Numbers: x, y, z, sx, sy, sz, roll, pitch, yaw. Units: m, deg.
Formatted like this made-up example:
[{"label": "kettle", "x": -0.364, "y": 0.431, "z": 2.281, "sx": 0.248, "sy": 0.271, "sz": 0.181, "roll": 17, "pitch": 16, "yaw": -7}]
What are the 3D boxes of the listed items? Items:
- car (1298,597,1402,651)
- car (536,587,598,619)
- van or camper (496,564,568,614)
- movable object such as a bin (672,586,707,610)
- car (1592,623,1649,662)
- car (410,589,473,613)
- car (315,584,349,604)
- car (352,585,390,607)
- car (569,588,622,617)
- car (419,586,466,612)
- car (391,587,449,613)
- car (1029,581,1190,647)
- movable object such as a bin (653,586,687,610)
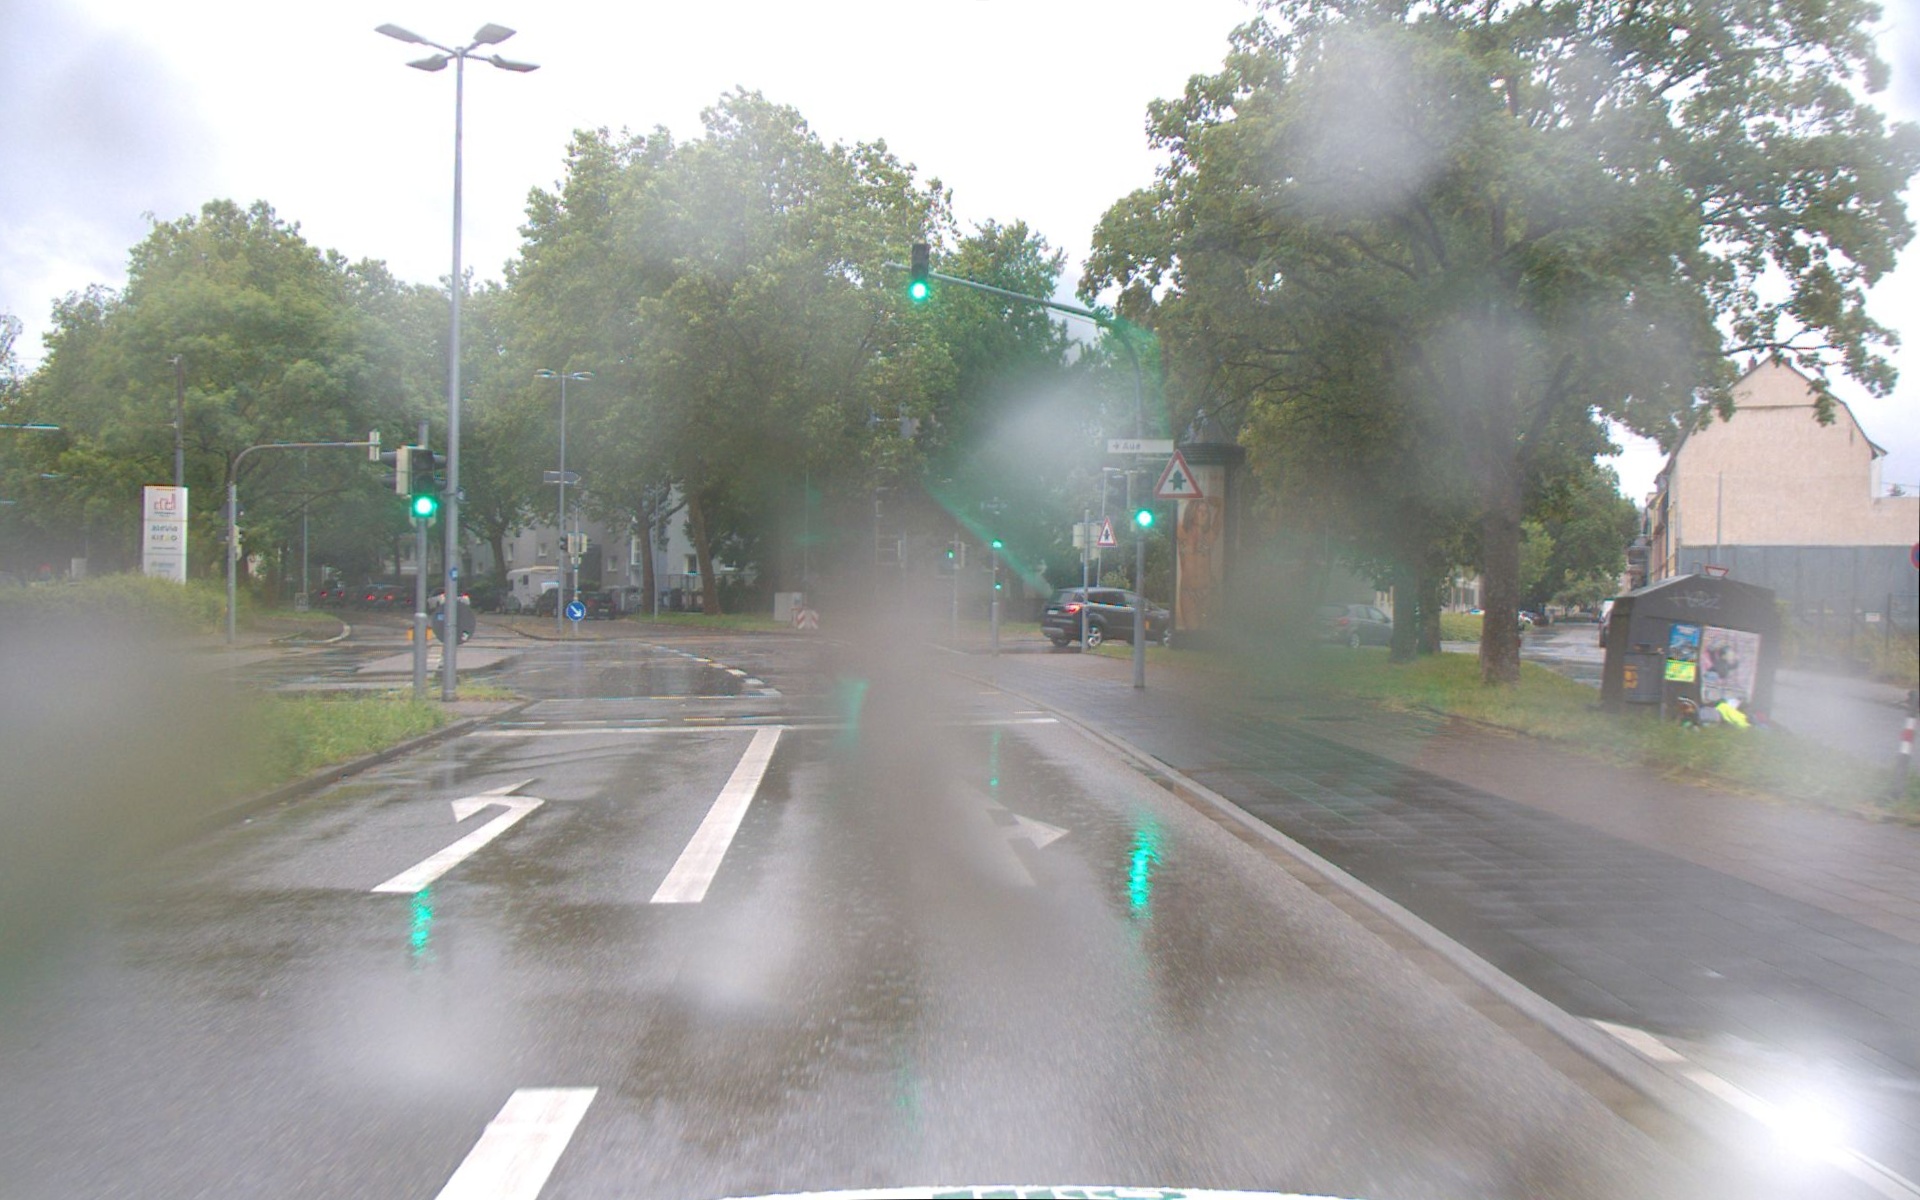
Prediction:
[{"label": "car", "x": 12.632, "y": 0.767, "z": 53.361, "sx": 1.959, "sy": 1.630, "sz": 4.076, "roll": 1, "pitch": 0, "yaw": 34}, {"label": "car", "x": -21.554, "y": 0.191, "z": 90.625, "sx": 1.899, "sy": 1.649, "sz": 4.401, "roll": 2, "pitch": -2, "yaw": -34}, {"label": "van or camper", "x": -25.371, "y": -0.623, "z": 97.910, "sx": 2.295, "sy": 2.856, "sz": 6.791, "roll": 1, "pitch": -1, "yaw": -31}, {"label": "movable object such as a bin", "x": -17.073, "y": -0.100, "z": 104.367, "sx": 1.828, "sy": 1.457, "sz": 1.210, "roll": 1, "pitch": -1, "yaw": 40}, {"label": "car", "x": 28.290, "y": 1.795, "z": 70.780, "sx": 1.935, "sy": 1.576, "sz": 4.526, "roll": 1, "pitch": 0, "yaw": 26}, {"label": "car", "x": -36.971, "y": 0.058, "z": 117.987, "sx": 1.991, "sy": 1.629, "sz": 3.992, "roll": 1, "pitch": 0, "yaw": 30}, {"label": "car", "x": -48.415, "y": -0.493, "z": 127.507, "sx": 1.690, "sy": 1.436, "sz": 3.603, "roll": -2, "pitch": 1, "yaw": -33}, {"label": "car", "x": -40.567, "y": -0.315, "z": 113.882, "sx": 1.690, "sy": 1.436, "sz": 3.603, "roll": -2, "pitch": 1, "yaw": -33}, {"label": "car", "x": -19.059, "y": 0.132, "z": 86.436, "sx": 1.532, "sy": 1.414, "sz": 4.107, "roll": 2, "pitch": 0, "yaw": -30}, {"label": "car", "x": -30.208, "y": -0.054, "z": 96.474, "sx": 1.690, "sy": 1.436, "sz": 3.603, "roll": -2, "pitch": 1, "yaw": -33}, {"label": "car", "x": -39.157, "y": -0.050, "z": 120.042, "sx": 1.797, "sy": 1.726, "sz": 3.862, "roll": 1, "pitch": 2, "yaw": 29}, {"label": "car", "x": 4.279, "y": 0.398, "z": 47.179, "sx": 4.251, "sy": 1.774, "sz": 1.977, "roll": 2, "pitch": 0, "yaw": -33}, {"label": "movable object such as a bin", "x": -18.534, "y": -0.136, "z": 105.585, "sx": 1.828, "sy": 1.457, "sz": 1.210, "roll": 1, "pitch": -1, "yaw": 40}]
